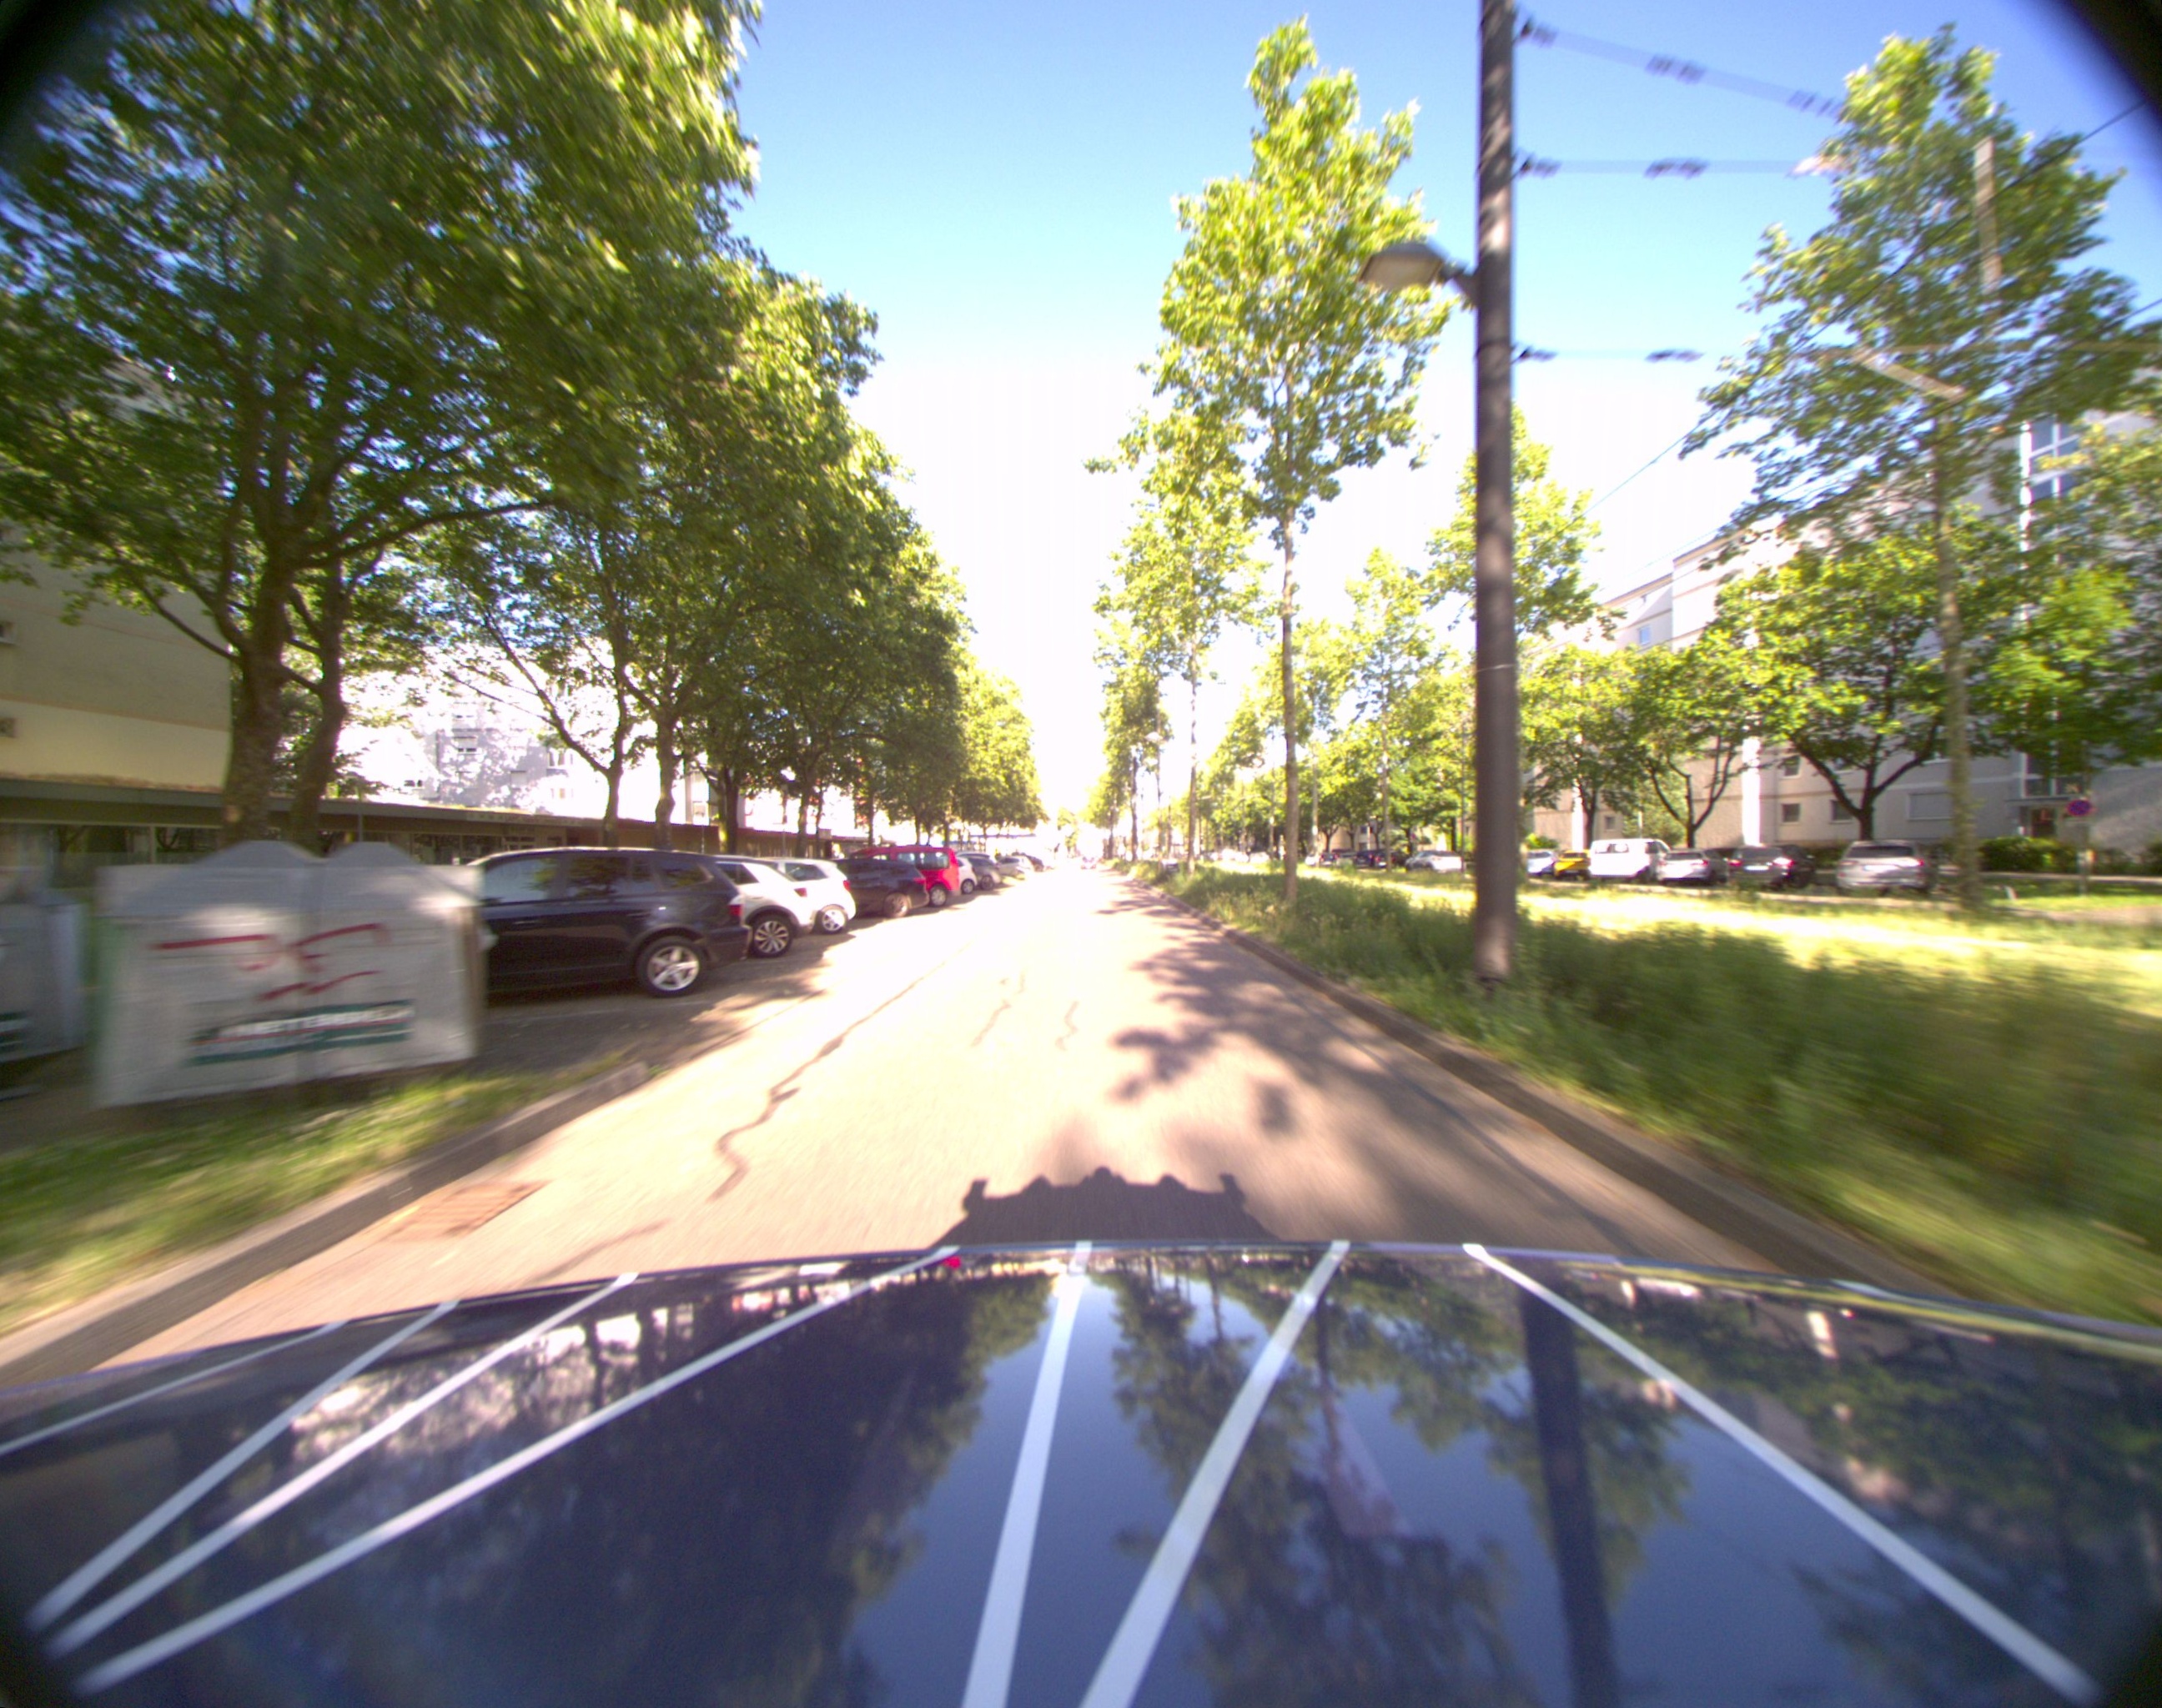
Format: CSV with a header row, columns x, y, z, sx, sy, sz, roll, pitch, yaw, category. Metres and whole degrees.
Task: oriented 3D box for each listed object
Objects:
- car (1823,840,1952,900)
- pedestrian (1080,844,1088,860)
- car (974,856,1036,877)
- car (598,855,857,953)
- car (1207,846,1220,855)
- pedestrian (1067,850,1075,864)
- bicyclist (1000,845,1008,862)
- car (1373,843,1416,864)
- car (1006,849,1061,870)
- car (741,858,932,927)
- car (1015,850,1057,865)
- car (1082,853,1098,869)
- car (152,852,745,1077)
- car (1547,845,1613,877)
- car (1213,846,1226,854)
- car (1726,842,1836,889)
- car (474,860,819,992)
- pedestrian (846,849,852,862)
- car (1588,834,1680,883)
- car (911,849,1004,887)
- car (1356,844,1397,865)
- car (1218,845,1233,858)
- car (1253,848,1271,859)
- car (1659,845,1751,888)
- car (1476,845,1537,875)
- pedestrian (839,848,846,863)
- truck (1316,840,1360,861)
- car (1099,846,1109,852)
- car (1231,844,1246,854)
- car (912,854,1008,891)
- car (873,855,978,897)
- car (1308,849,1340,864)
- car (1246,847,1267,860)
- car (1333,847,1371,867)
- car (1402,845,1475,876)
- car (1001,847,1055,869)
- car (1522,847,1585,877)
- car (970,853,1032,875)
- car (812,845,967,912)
x,y,z,sx,sy,sz,roll,pitch,yaw,category
24.061,0.396,22.645,4.092,1.598,1.989,-1,3,-35,car
0.382,-0.238,93.025,0.799,1.874,0.928,-1,1,5,pedestrian
-5.428,0.855,54.304,4.194,1.404,1.715,0,1,-42,car
-6.550,0.813,14.321,4.093,1.573,1.776,0,1,-41,car
24.439,-0.681,140.136,1.598,1.626,3.930,-1,0,1,car
-1.165,0.345,90.466,0.714,1.696,0.652,0,1,-33,pedestrian
-7.875,-0.062,77.992,0.624,1.730,1.023,-1,1,1,bicyclist
25.066,-0.047,60.702,1.647,1.466,4.093,-6,-4,44,car
-4.053,0.471,64.680,4.512,1.695,1.756,0,1,-40,car
-5.849,0.843,18.346,4.093,1.472,1.647,0,1,-35,car
-4.657,0.402,78.623,4.005,1.461,1.756,1,0,-30,car
0.963,0.727,81.033,1.619,1.537,4.277,-1,1,2,car
-6.032,0.865,7.918,4.328,1.707,1.631,-1,1,-38,car
24.311,0.302,36.976,4.093,1.424,1.574,-1,2,-41,car
24.297,-0.720,133.073,1.598,1.480,4.020,-1,0,0,car
24.238,0.376,26.295,4.092,1.521,1.814,-1,-1,-33,car
-6.166,0.894,11.126,4.092,1.573,1.776,0,1,-34,car
-26.912,0.183,88.020,0.533,1.422,0.715,-1,0,-4,pedestrian
24.052,0.157,32.977,4.807,1.994,1.887,-1,-1,-37,car
-5.806,0.604,36.017,4.036,1.695,1.756,0,1,-40,car
25.048,0.043,64.340,4.094,1.636,1.647,-1,-2,-45,car
24.375,-0.436,128.362,1.718,2.249,3.933,-1,0,0,car
24.848,-0.077,104.440,1.718,1.537,4.200,-1,0,2,car
24.553,0.486,29.872,4.091,1.424,1.576,-3,1,-33,car
24.182,0.329,43.143,4.093,1.636,1.647,-1,0,-41,car
-27.541,0.212,87.740,0.496,1.690,0.715,-1,0,-4,pedestrian
24.293,-0.375,71.766,4.092,1.766,1.646,-2,6,-35,truck
6.683,-1.376,218.270,1.545,1.522,3.596,-3,1,-19,car
24.306,-0.728,117.284,1.718,1.537,3.934,-1,0,4,car
-5.172,0.750,32.810,3.795,1.462,1.646,0,1,-42,car
-5.895,0.788,28.997,1.646,1.440,3.635,1,1,45,car
25.376,0.247,79.233,1.835,1.426,3.833,0,0,42,car
20.929,-0.051,90.773,1.650,1.477,3.849,0,1,1,car
24.376,0.259,68.173,1.646,1.637,4.093,2,2,44,car
19.073,0.311,40.765,1.928,1.497,4.084,2,0,0,car
-4.756,0.346,68.696,4.680,1.842,1.825,0,1,-39,car
25.025,0.380,40.190,4.093,1.474,1.646,-1,1,-41,car
-5.281,0.634,50.600,3.947,1.365,1.583,0,1,-42,car
-5.547,0.642,22.257,4.093,1.800,1.646,0,1,-39,car
